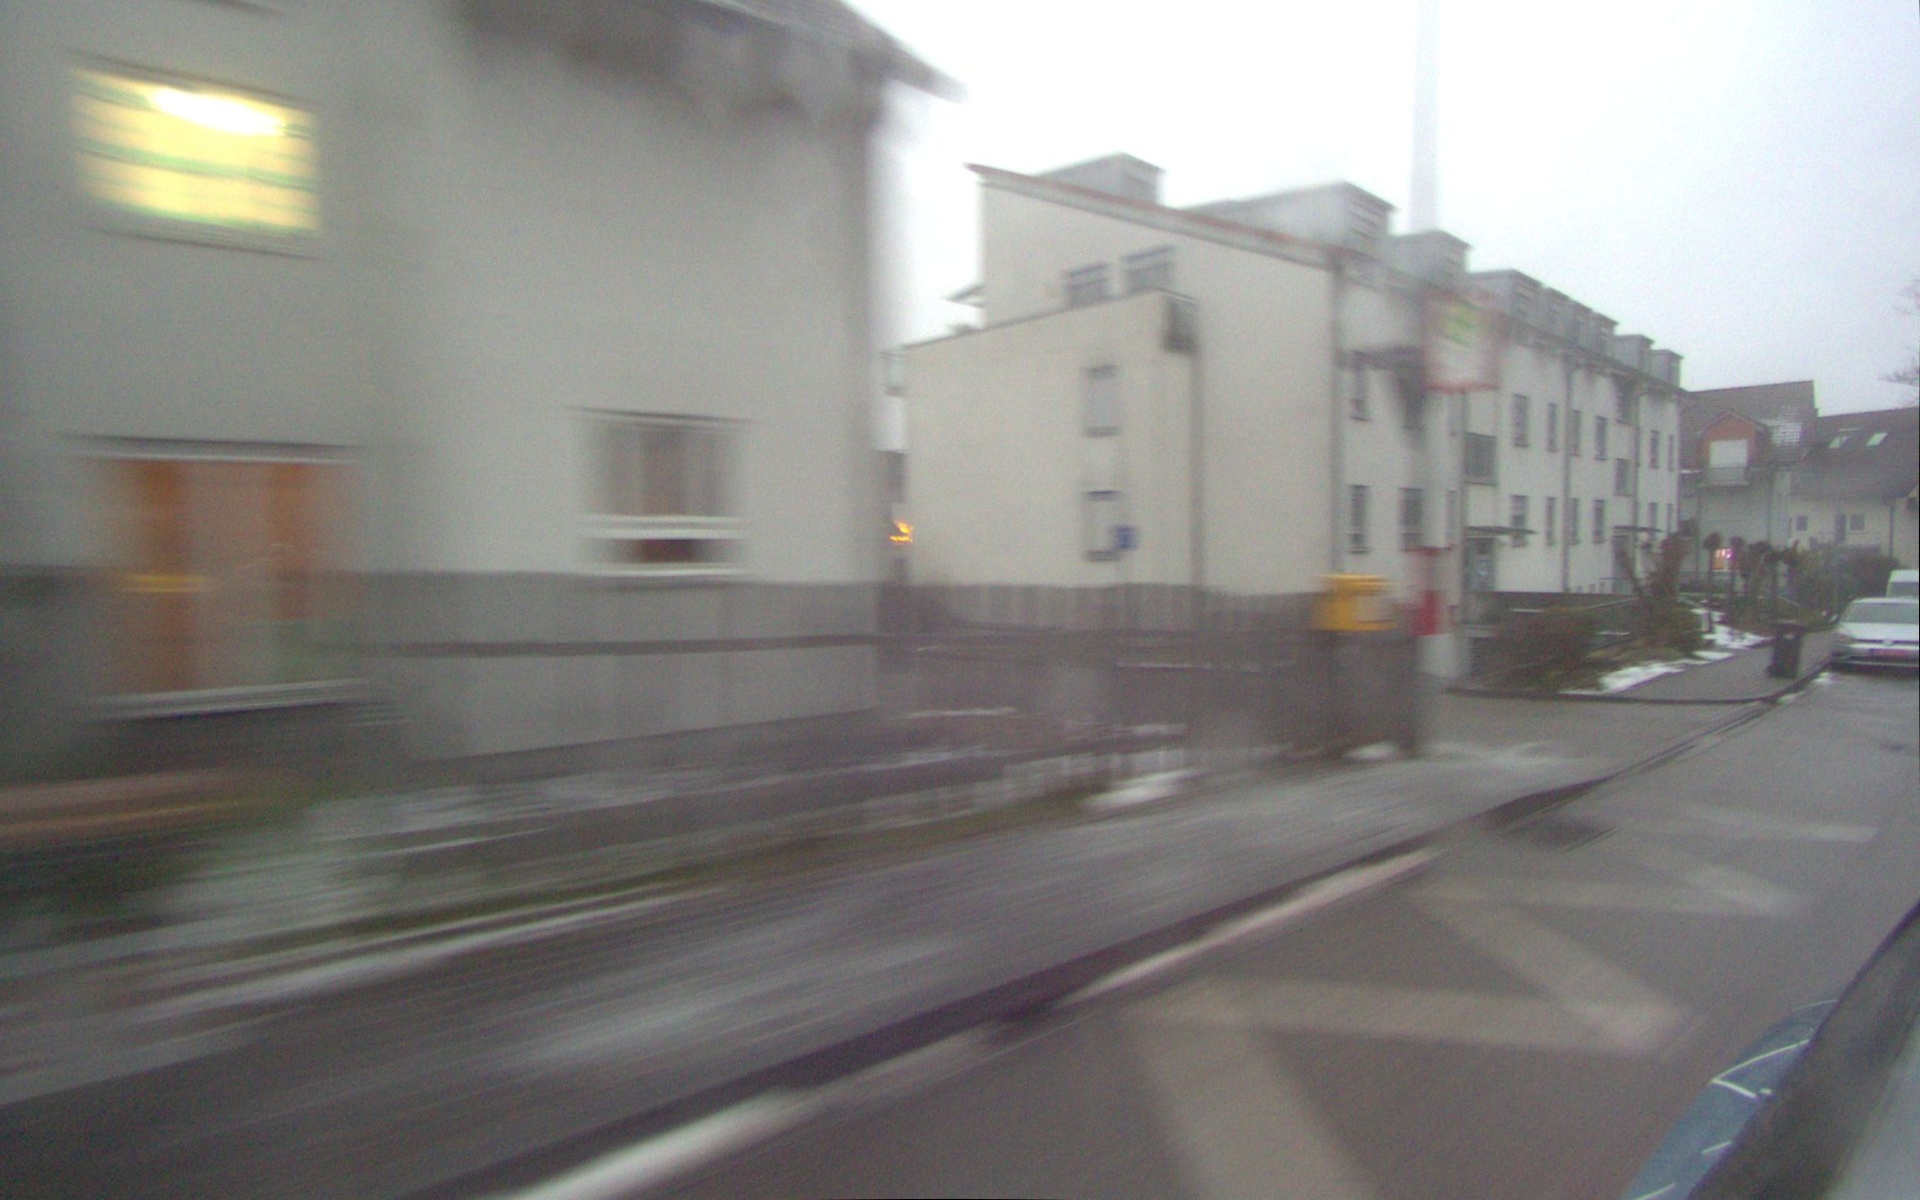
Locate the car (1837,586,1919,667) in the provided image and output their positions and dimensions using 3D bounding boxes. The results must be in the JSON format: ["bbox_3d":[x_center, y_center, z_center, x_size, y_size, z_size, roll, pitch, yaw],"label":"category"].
[{"bbox_3d":[18.795,0.463,20.174,1.738,1.447,4.386,0,1,44],"label":"car"}]

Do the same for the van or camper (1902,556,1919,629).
[{"bbox_3d":[36.247,-0.255,37.396,2.014,2.538,6.686,3,2,43],"label":"van or camper"}]

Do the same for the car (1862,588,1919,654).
[{"bbox_3d":[22.914,0.452,24.325,1.656,1.447,4.492,0,1,44],"label":"car"}]
